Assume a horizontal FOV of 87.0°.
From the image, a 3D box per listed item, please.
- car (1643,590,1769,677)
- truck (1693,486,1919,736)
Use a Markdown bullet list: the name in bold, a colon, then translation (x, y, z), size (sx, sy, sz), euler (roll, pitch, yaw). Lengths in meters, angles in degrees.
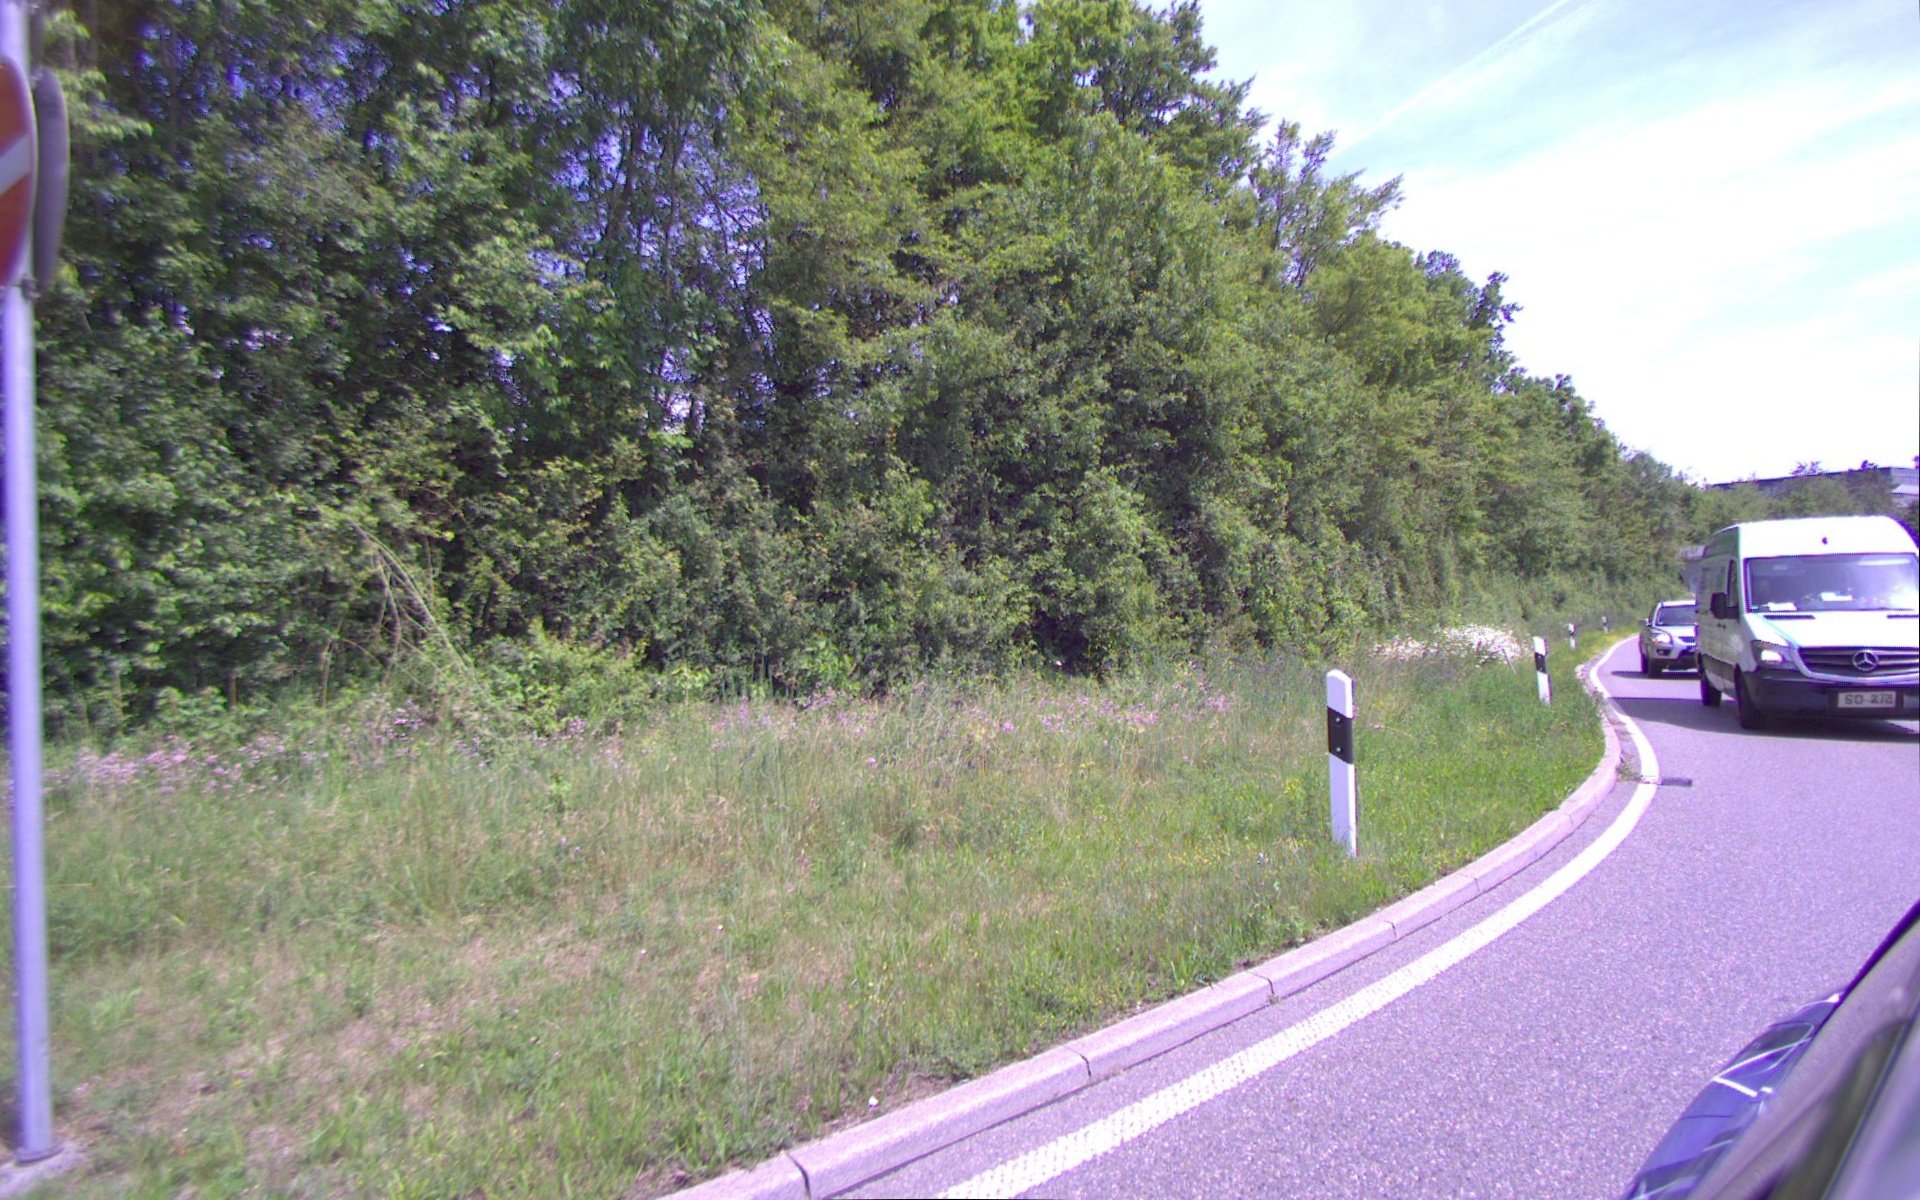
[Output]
- **car**: translation (16.369, 0.700, 22.393), size (1.835, 1.730, 4.043), euler (-1, -1, 31)
- **truck**: translation (11.196, 0.142, 13.284), size (1.984, 2.619, 5.822), euler (-1, -1, 31)
